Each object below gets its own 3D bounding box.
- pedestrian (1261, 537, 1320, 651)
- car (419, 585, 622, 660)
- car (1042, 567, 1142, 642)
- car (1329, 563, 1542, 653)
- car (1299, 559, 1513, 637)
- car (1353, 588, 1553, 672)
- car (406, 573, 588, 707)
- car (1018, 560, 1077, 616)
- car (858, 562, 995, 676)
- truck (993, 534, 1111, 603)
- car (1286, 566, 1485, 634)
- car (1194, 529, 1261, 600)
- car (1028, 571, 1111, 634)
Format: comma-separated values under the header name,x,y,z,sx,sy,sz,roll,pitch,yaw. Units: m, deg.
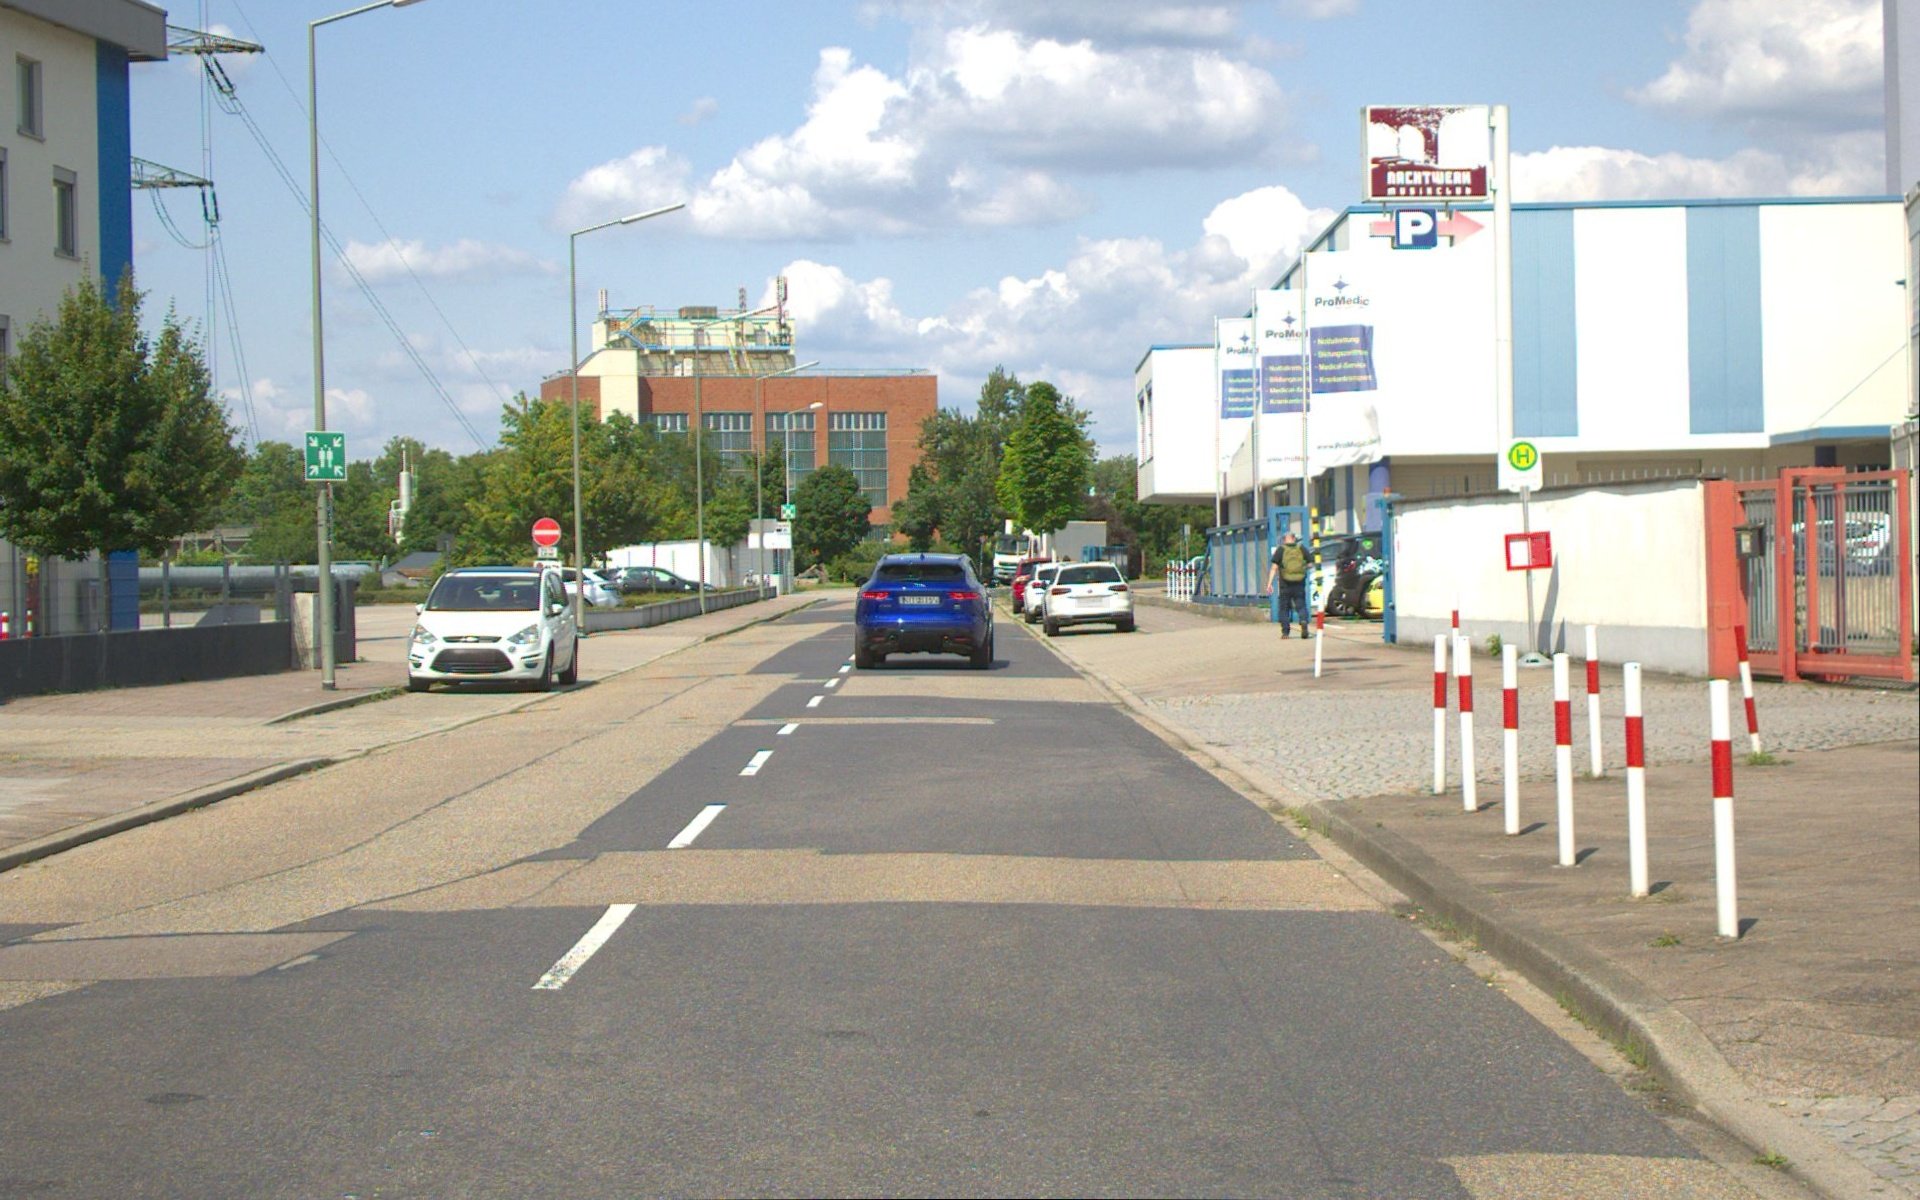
name,x,y,z,sx,sy,sz,roll,pitch,yaw
pedestrian,5.213,-0.103,54.275,0.769,1.750,0.787,-3,0,-1
car,-10.732,0.539,84.266,4.754,1.597,2.000,-2,1,-3
car,2.752,0.068,72.507,1.867,1.515,4.598,0,1,-1
car,9.087,0.148,65.924,3.806,1.674,1.791,0,0,0
car,8.890,-0.046,68.778,3.987,1.415,2.000,-2,1,1
car,9.012,0.531,63.036,3.403,1.485,1.791,0,0,0
car,-6.140,0.491,46.079,1.867,1.702,4.753,0,1,-1
car,2.654,-0.377,104.097,1.755,1.645,4.677,0,1,2
car,-0.502,0.247,50.654,1.909,1.588,4.701,0,1,-1
truck,5.147,-1.769,190.385,2.325,3.555,9.351,1,2,30
car,9.711,-0.011,78.697,4.279,1.415,2.000,-2,1,1
car,9.459,-1.241,121.940,1.924,2.455,5.260,0,0,0
car,2.692,0.046,85.308,1.835,1.515,4.461,0,1,-1
